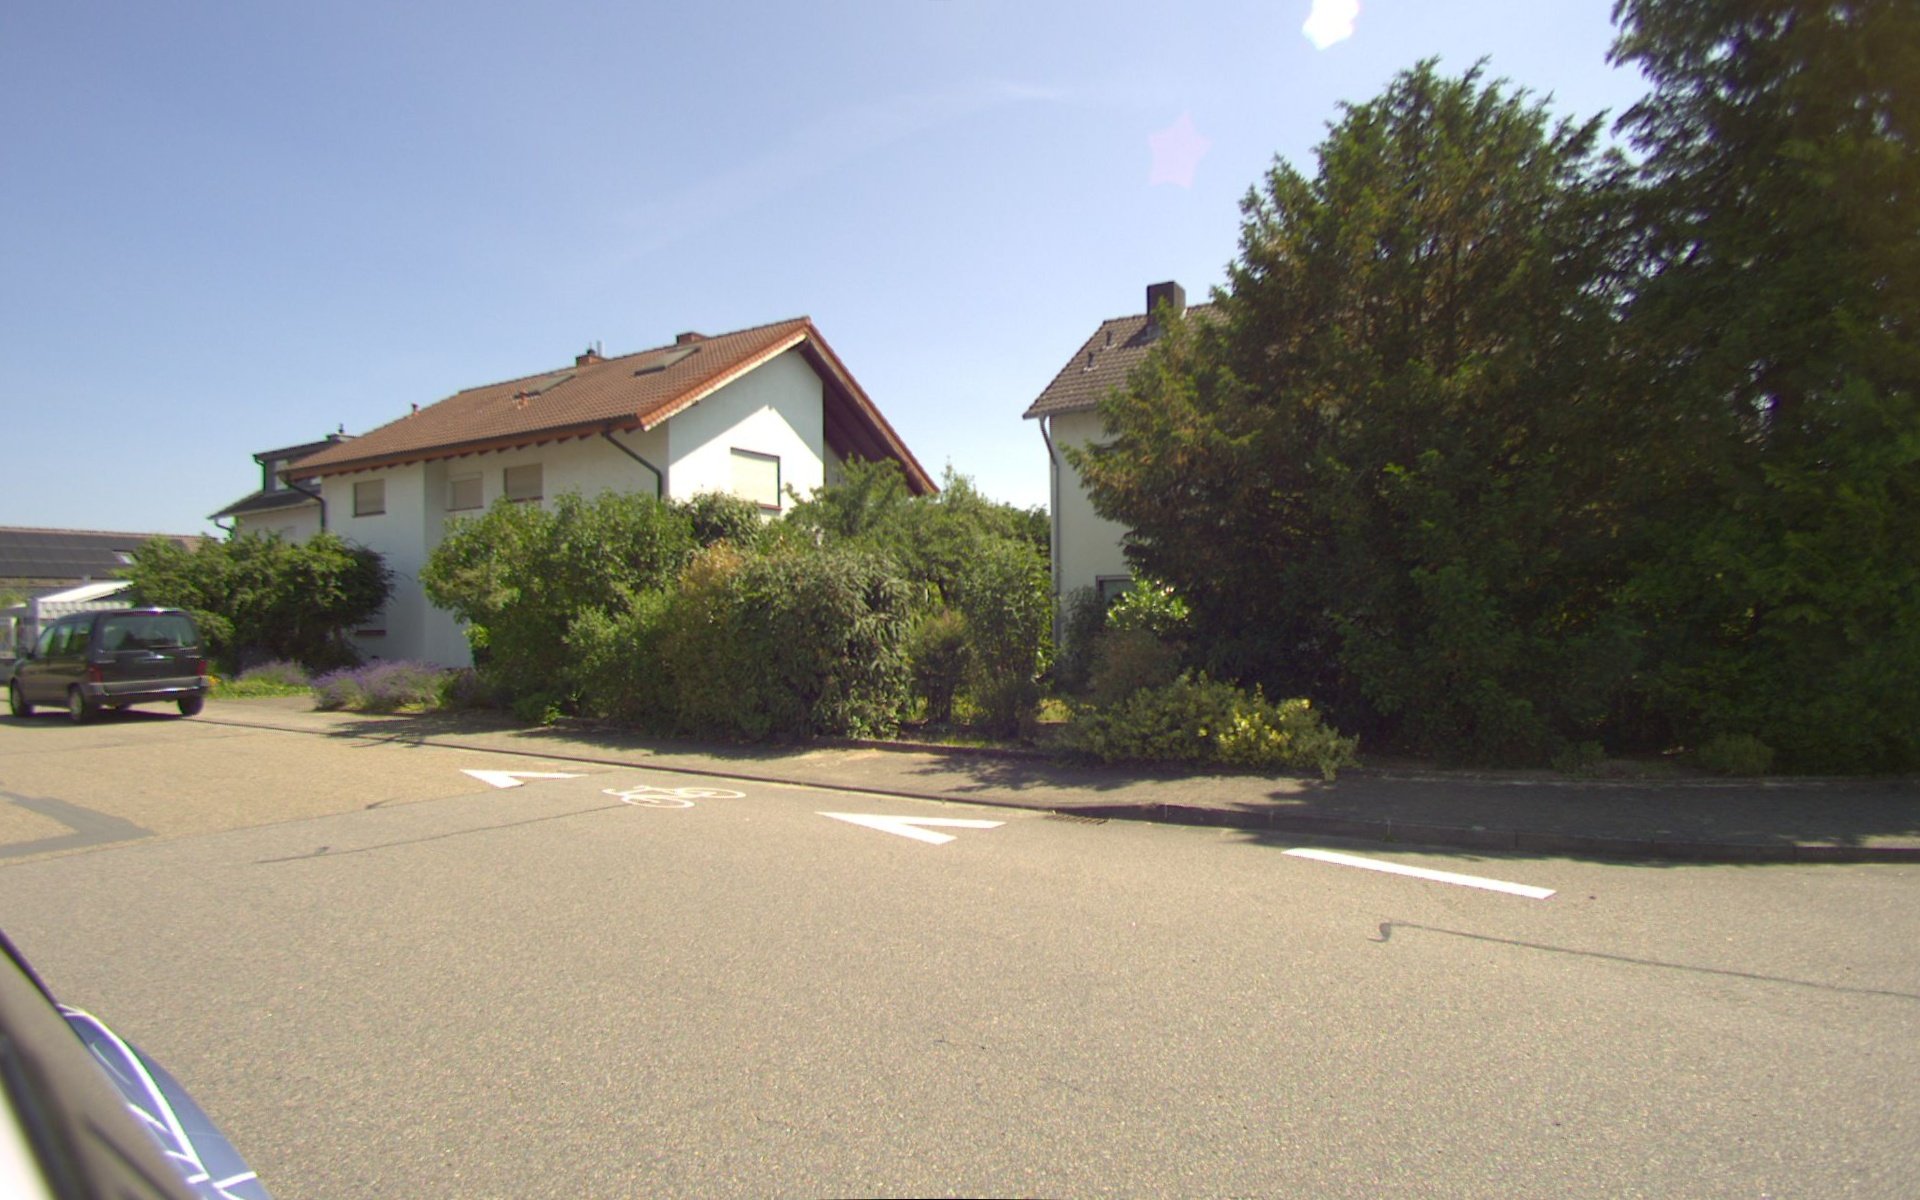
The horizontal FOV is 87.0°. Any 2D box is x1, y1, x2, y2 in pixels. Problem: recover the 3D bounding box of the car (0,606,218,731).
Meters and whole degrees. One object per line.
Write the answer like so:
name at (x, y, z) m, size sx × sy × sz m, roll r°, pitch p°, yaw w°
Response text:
car at (-14.311, 1.056, 16.881) m, size 4.039 × 1.860 × 1.706 m, roll -1°, pitch -1°, yaw 31°
